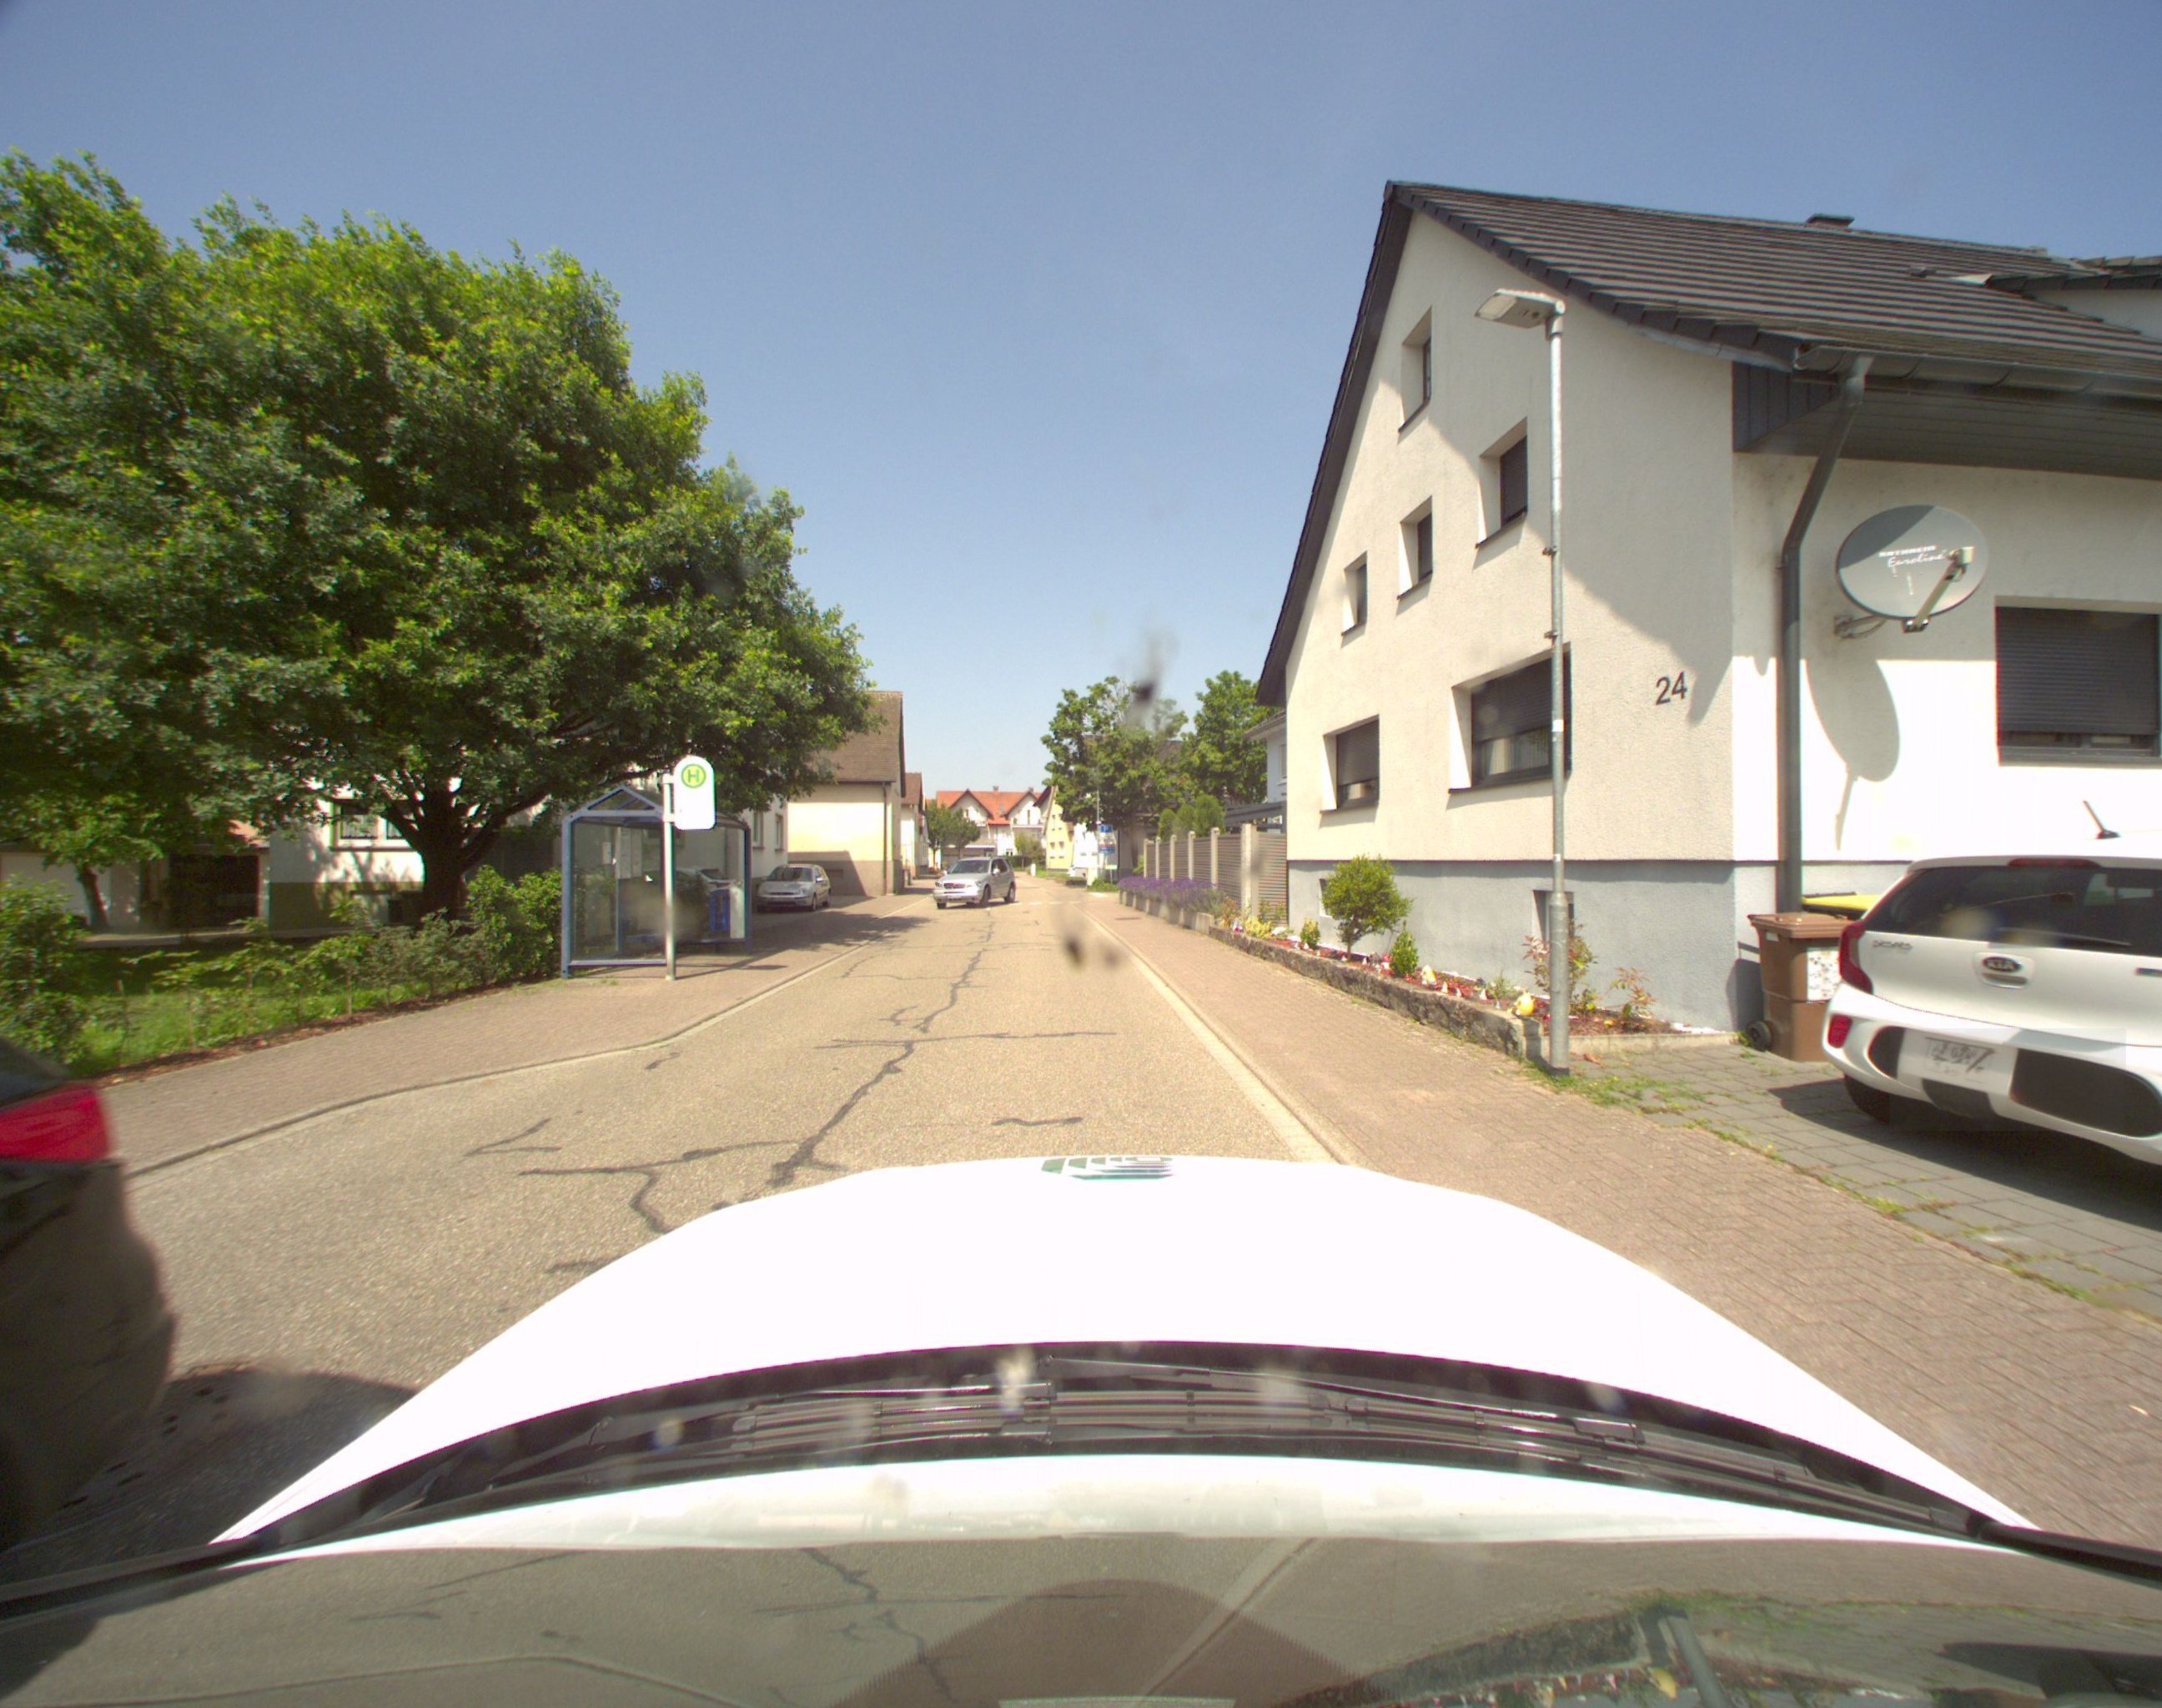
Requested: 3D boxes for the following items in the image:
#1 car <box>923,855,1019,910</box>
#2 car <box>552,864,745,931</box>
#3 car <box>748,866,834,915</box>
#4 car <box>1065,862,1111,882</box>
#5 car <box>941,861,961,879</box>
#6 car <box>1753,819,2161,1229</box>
[{"bbox_3d":[-3.777,0.958,28.812,1.872,1.767,4.346,-2,-1,13],"label":"car"},{"bbox_3d":[-11.471,1.122,21.852,4.155,1.538,1.770,-2,0,-7],"label":"car"},{"bbox_3d":[-9.269,1.110,26.327,1.777,1.435,4.045,0,0,-7],"label":"car"},{"bbox_3d":[0.483,1.283,58.134,3.049,1.345,1.415,-1,-2,-16],"label":"car"},{"bbox_3d":[-11.417,1.421,71.565,1.627,1.486,3.986,-1,0,-10],"label":"car"},{"bbox_3d":[5.580,0.558,3.824,3.656,1.474,1.760,-2,0,-9],"label":"car"}]
